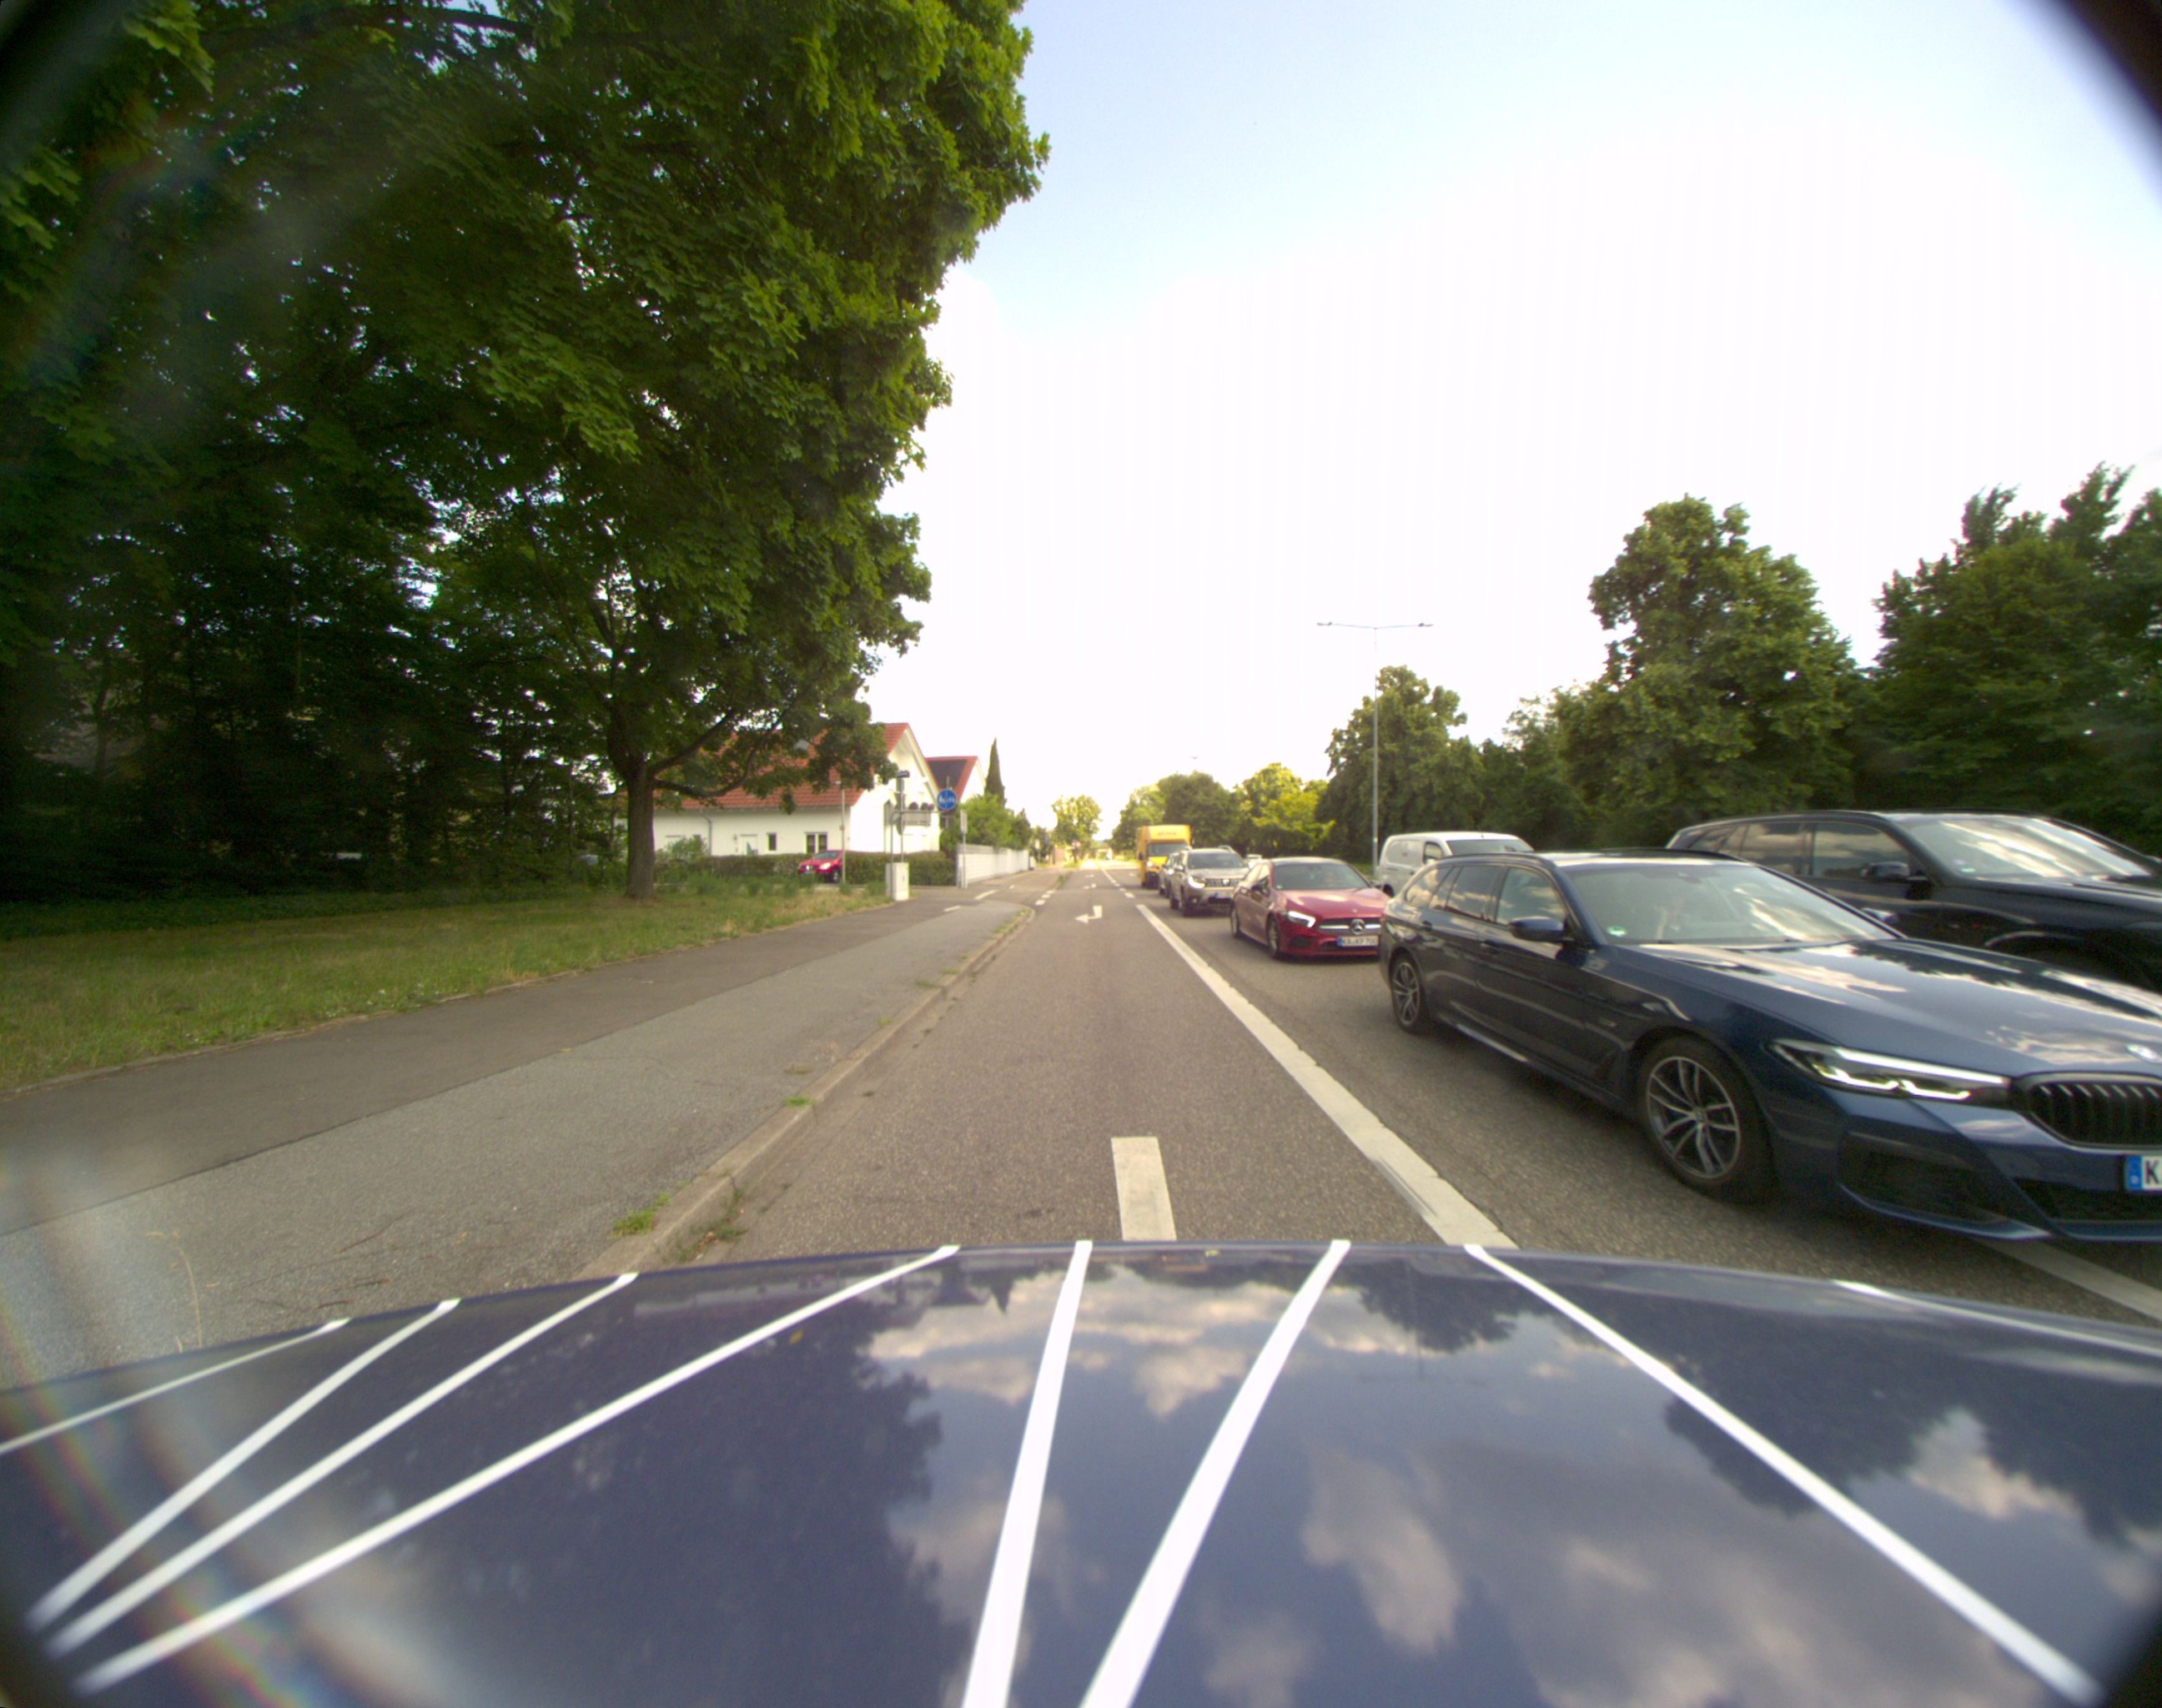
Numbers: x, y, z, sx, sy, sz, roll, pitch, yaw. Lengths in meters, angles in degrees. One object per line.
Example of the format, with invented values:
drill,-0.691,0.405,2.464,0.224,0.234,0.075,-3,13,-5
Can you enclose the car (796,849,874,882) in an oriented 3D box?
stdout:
car,-11.818,0.536,36.841,1.679,1.521,4.397,0,0,11
